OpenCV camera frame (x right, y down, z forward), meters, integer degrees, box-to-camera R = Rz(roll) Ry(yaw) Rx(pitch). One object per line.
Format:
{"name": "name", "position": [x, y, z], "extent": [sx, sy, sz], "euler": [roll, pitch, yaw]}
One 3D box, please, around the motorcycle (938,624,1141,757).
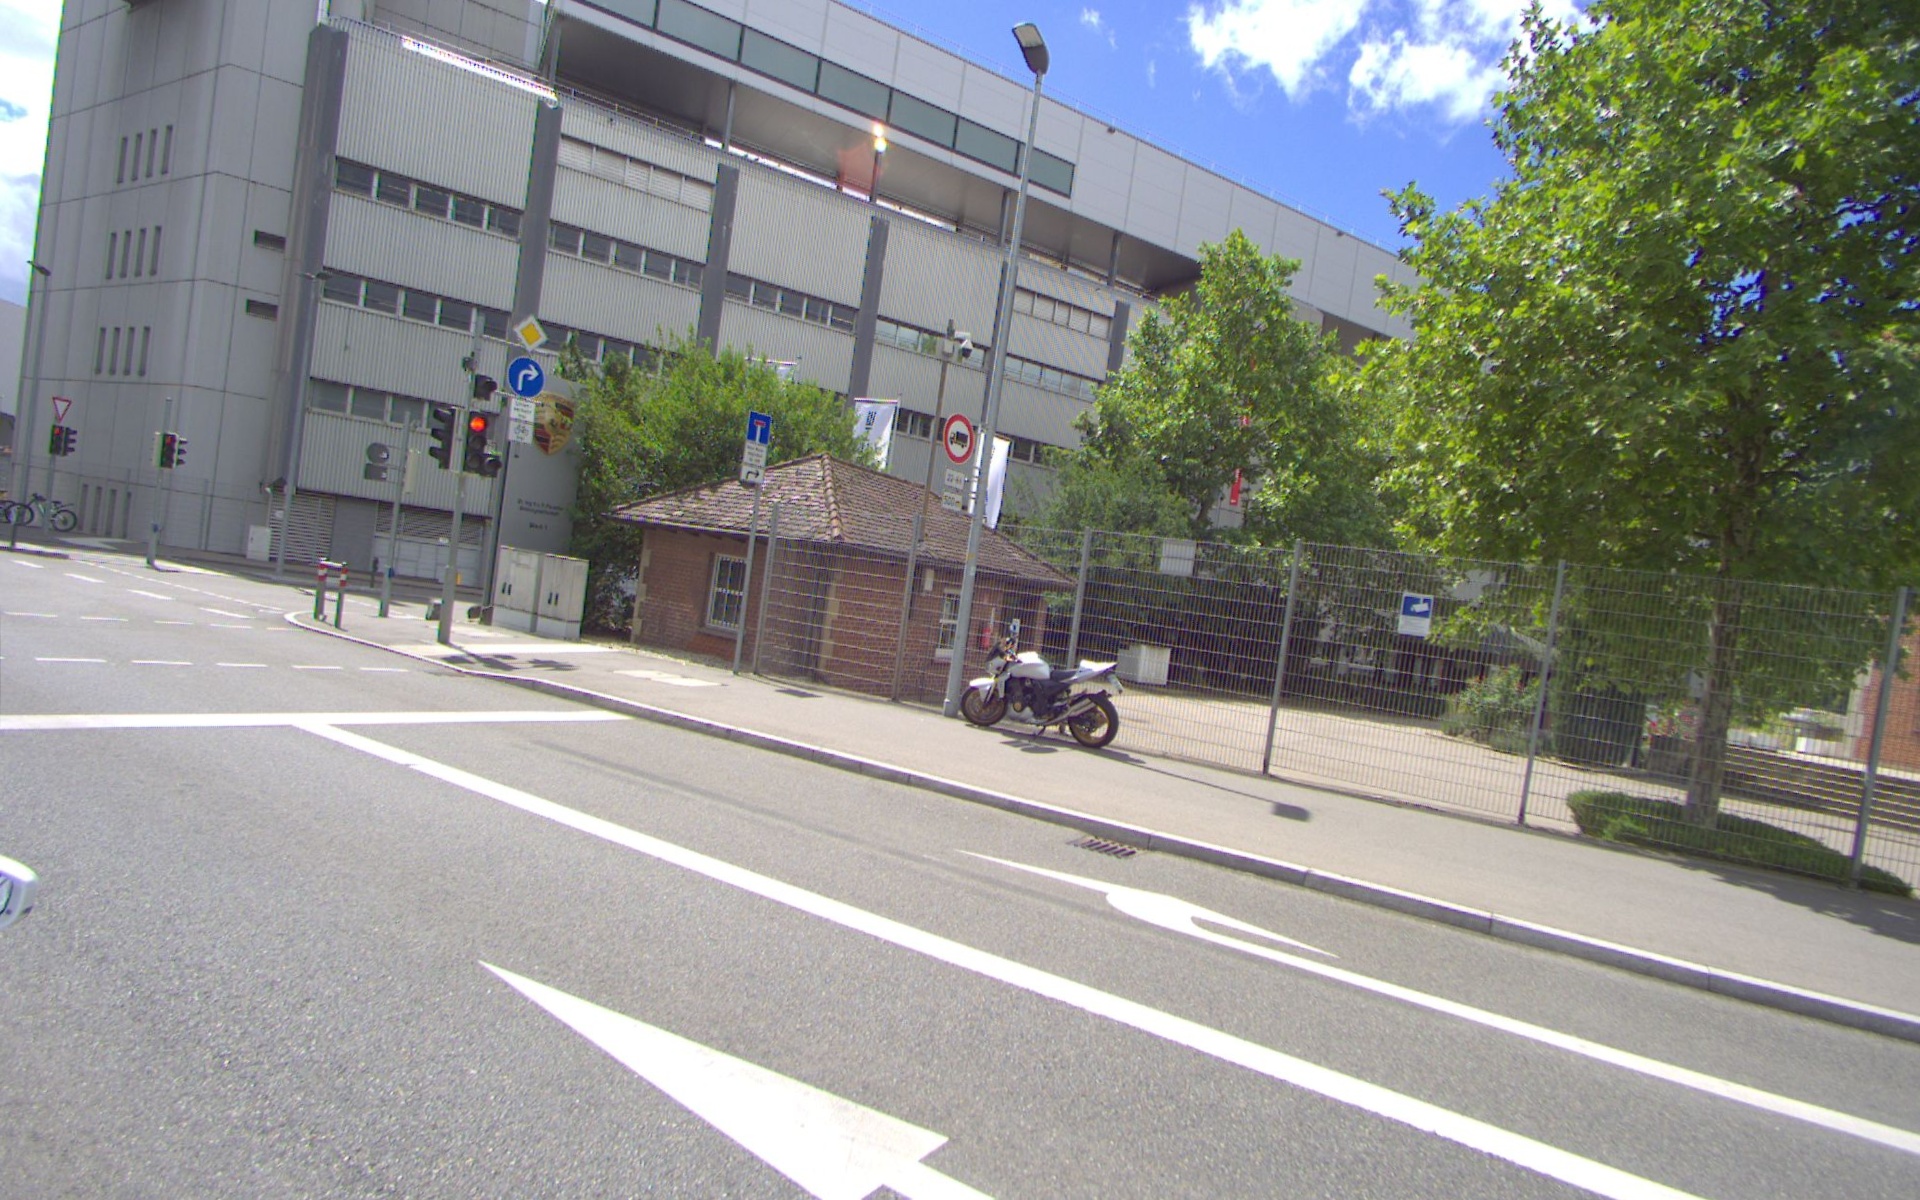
{"name": "motorcycle", "position": [0.897, 0.996, 11.577], "extent": [2.110, 1.173, 0.693], "euler": [7, 2, 27]}

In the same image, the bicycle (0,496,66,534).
{"name": "bicycle", "position": [-29.813, -2.716, 32.303], "extent": [1.892, 0.948, 0.399], "euler": [8, 0, 6]}
